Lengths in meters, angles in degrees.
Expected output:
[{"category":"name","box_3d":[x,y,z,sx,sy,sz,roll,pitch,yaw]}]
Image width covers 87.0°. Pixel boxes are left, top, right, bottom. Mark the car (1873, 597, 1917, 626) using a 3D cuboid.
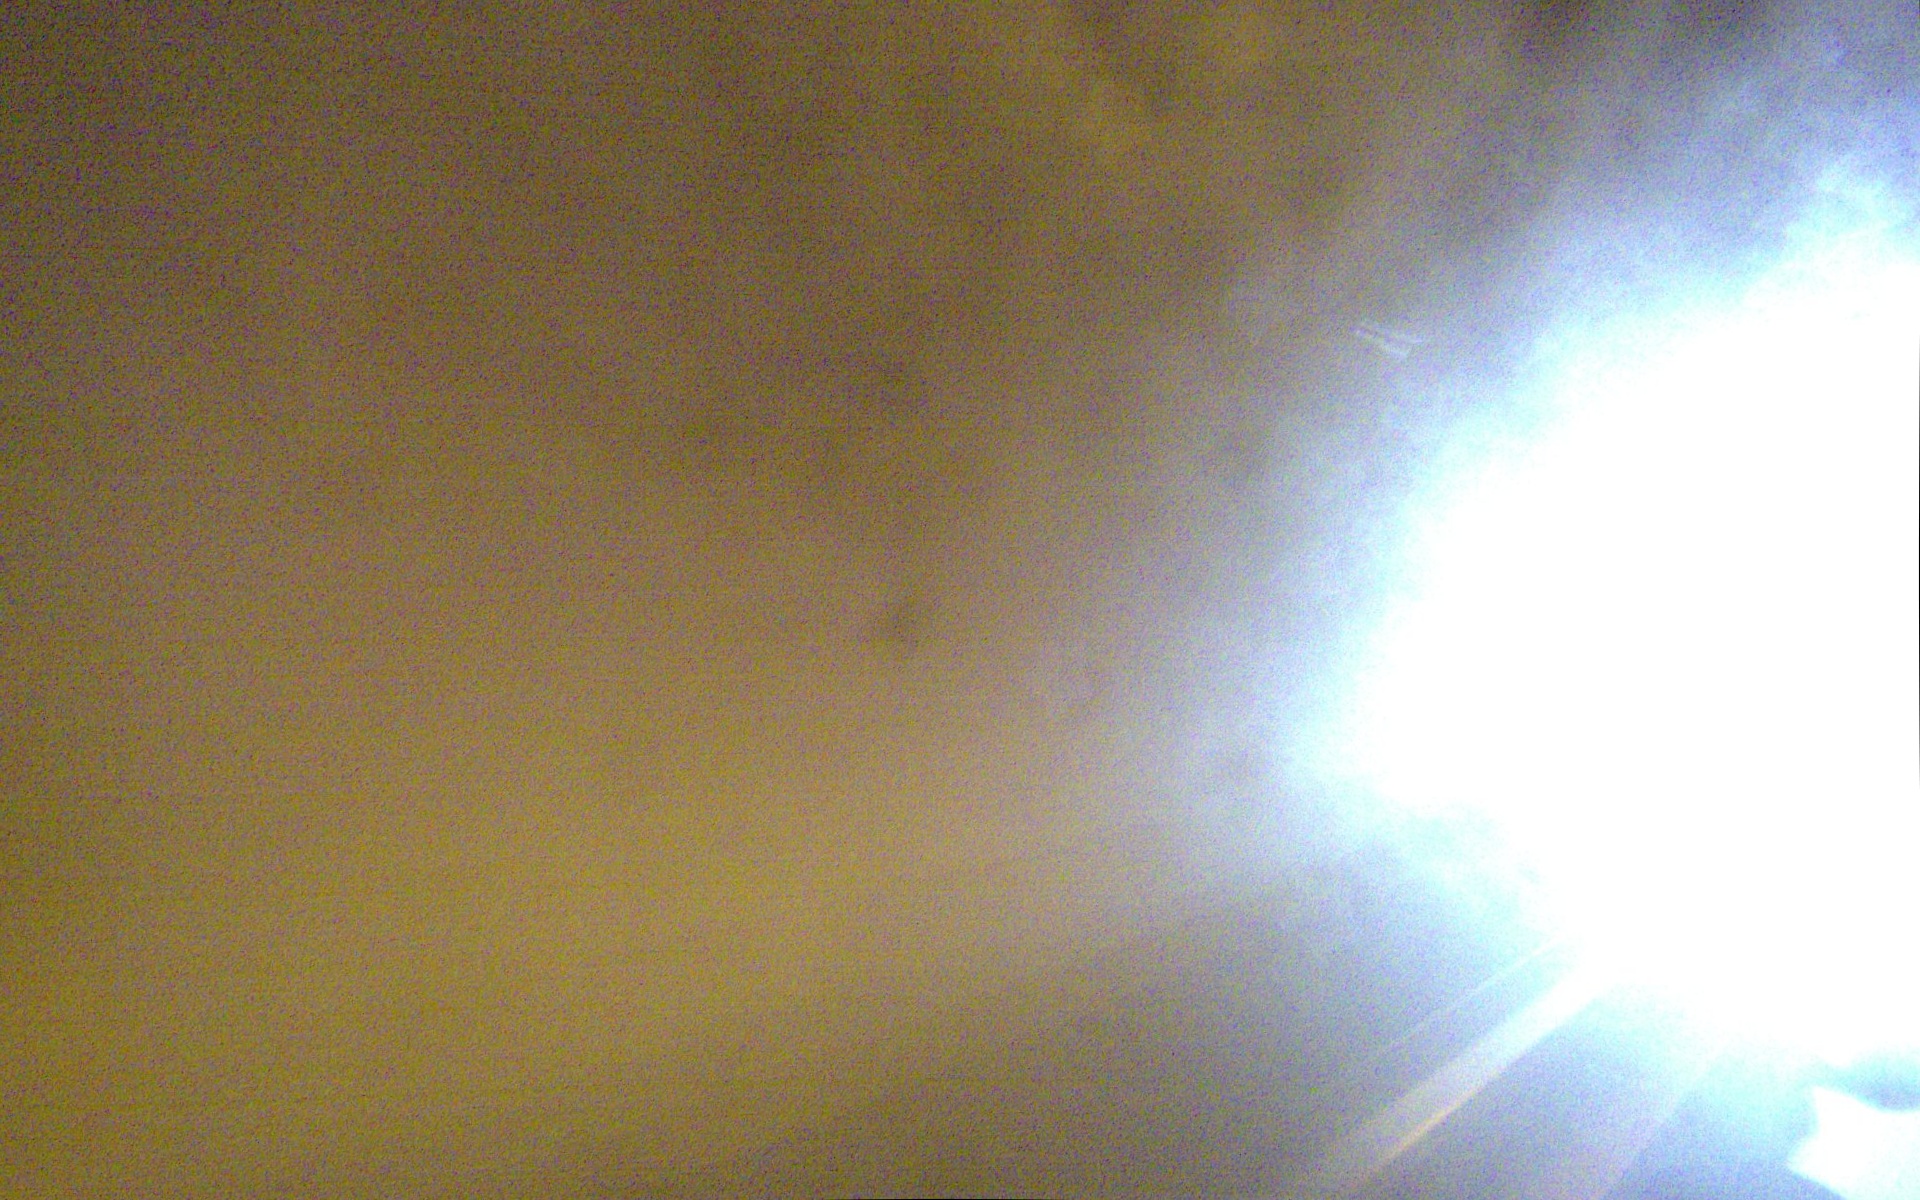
[{"category":"car","box_3d":[69.873,0.834,75.693,1.888,2.039,3.949,1,1,35]}]
